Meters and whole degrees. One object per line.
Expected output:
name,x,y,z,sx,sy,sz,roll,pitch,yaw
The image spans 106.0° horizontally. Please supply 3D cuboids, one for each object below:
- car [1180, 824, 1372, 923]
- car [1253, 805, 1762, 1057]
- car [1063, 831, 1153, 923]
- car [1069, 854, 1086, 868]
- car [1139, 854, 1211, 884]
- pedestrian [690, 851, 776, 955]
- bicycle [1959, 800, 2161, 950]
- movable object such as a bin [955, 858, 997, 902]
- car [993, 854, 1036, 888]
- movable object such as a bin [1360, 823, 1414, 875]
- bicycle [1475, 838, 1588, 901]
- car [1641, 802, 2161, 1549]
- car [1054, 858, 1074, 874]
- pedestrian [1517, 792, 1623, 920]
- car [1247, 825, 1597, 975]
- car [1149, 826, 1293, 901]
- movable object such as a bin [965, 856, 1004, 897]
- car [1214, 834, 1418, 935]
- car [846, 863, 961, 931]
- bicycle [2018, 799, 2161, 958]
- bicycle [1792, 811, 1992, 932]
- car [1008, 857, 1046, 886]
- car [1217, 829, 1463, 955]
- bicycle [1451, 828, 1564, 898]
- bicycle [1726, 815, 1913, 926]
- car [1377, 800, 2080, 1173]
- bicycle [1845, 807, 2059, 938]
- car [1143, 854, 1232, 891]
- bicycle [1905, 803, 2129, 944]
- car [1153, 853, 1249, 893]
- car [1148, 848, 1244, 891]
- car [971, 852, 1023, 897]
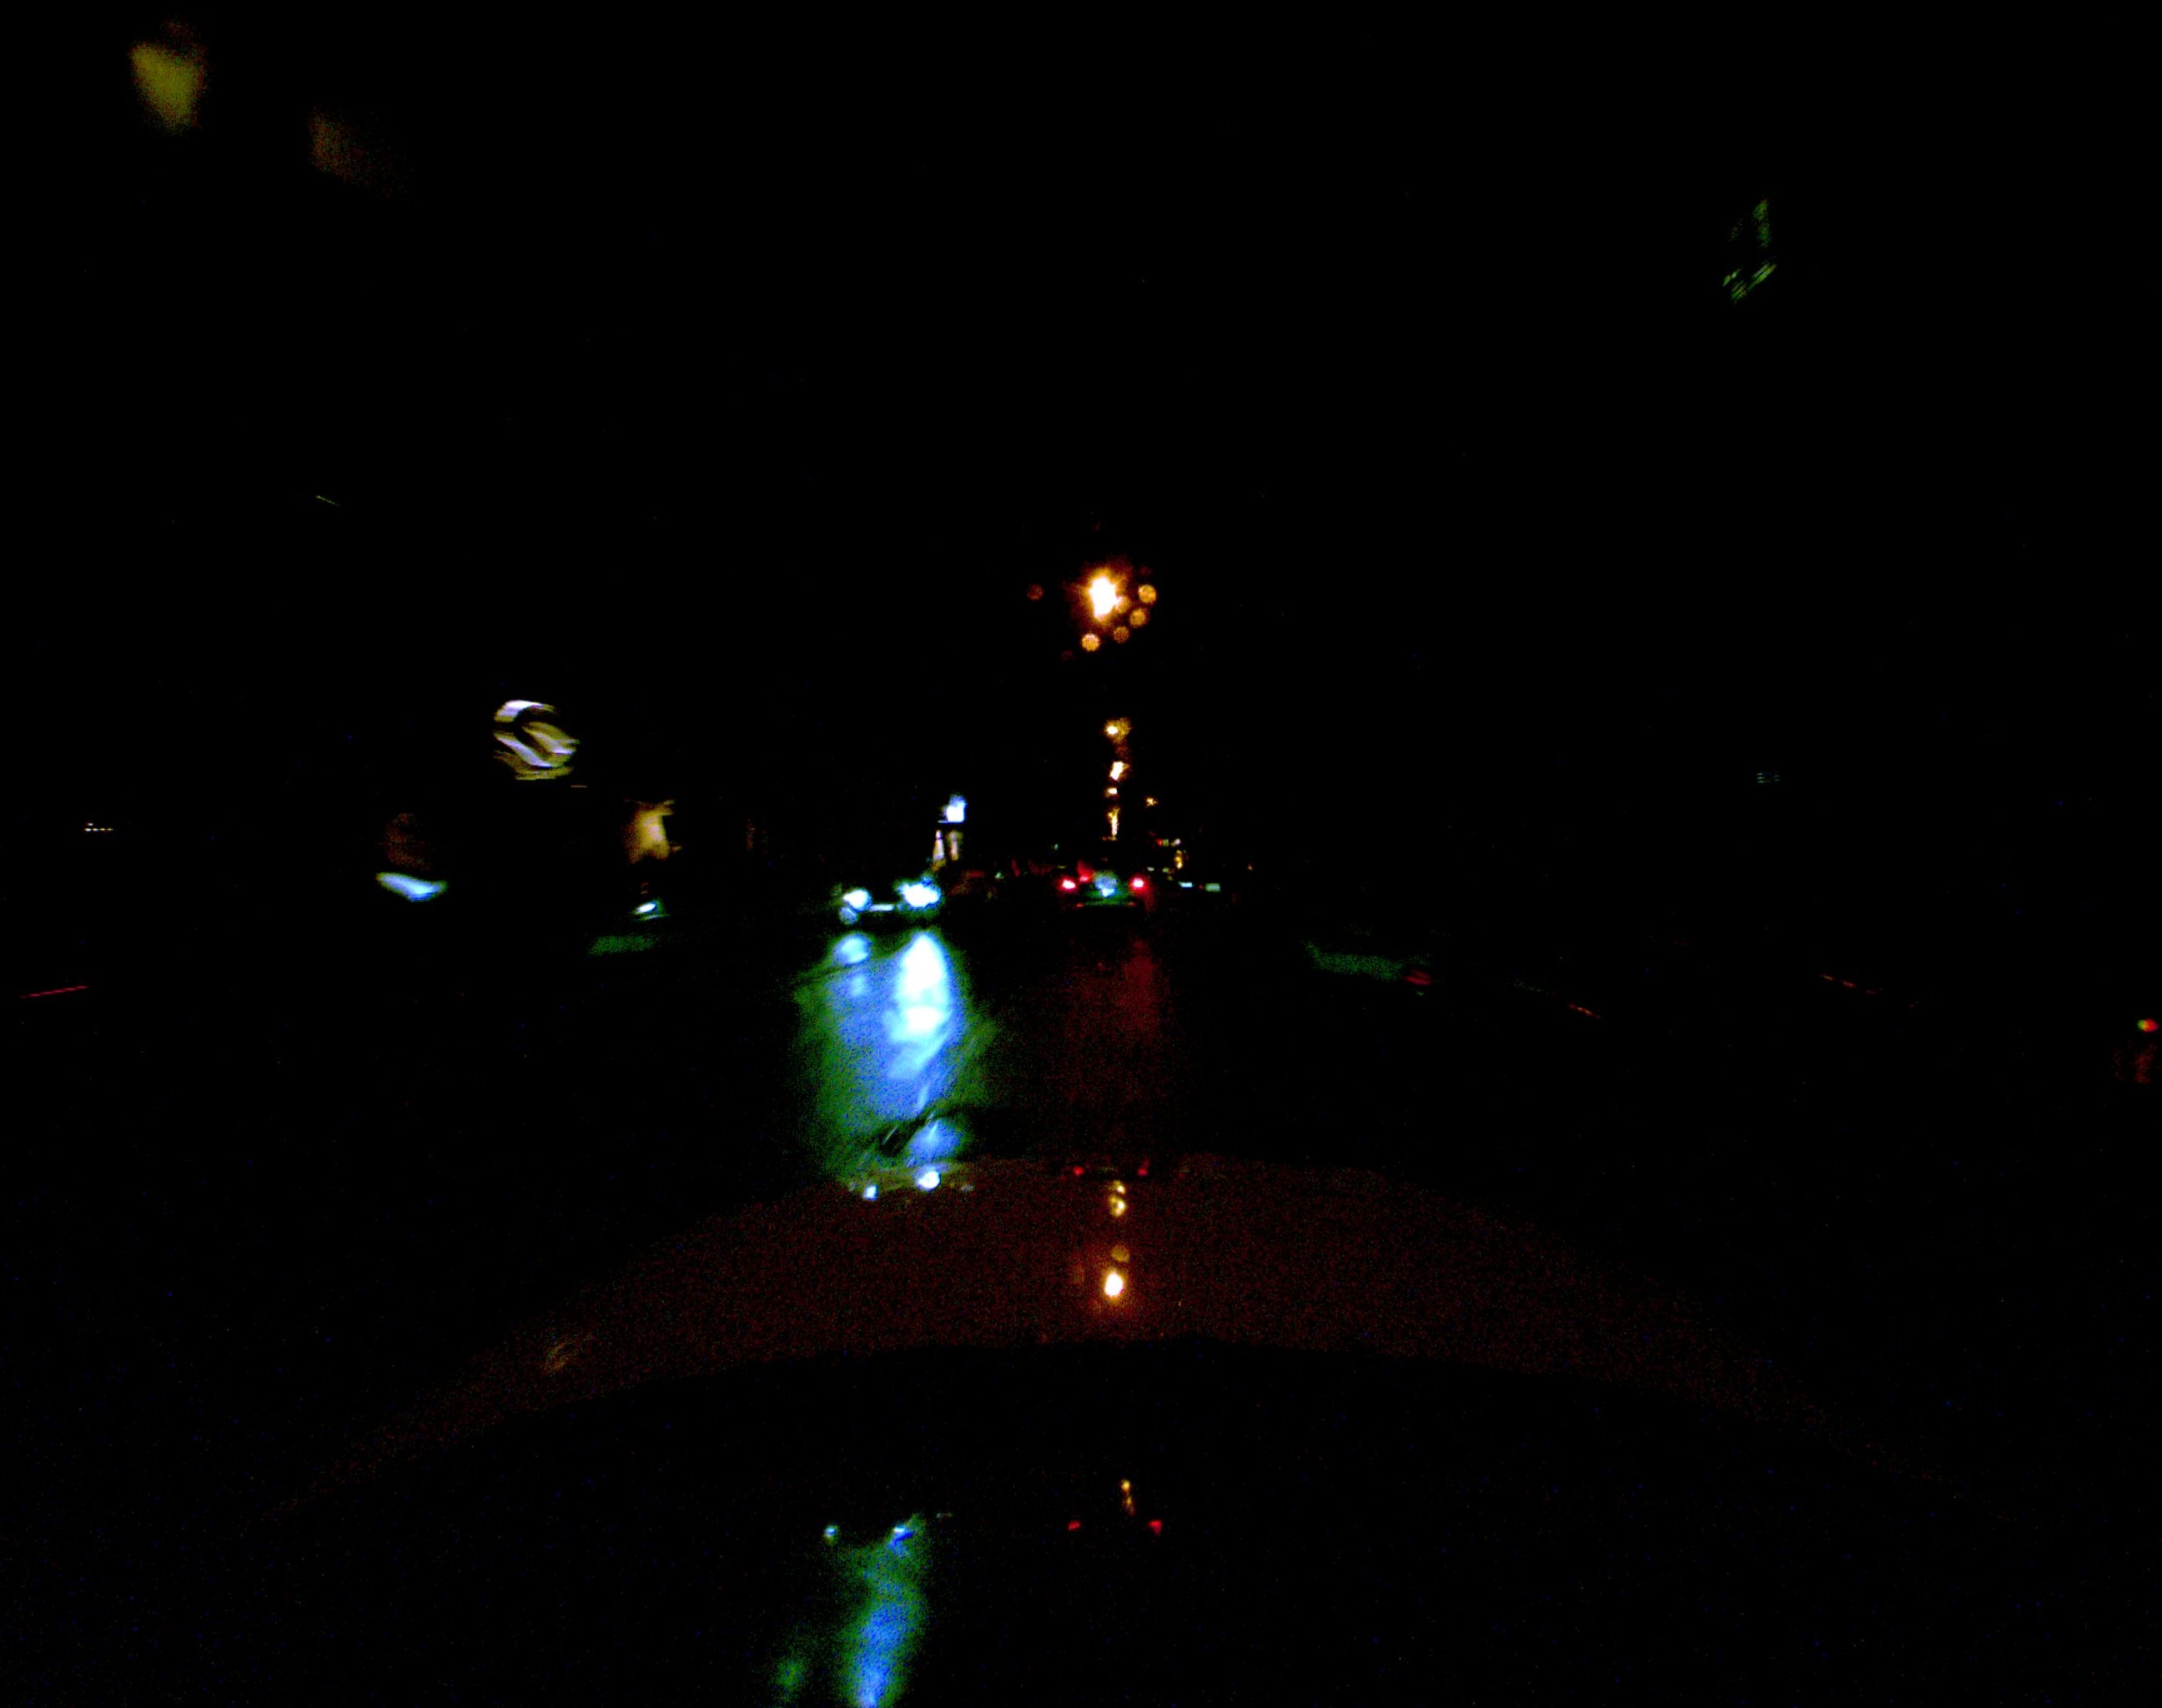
car,4.505,0.401,18.604,4.265,1.858,1.699,-4,-1,-34
car,3.828,0.499,7.355,4.110,1.764,1.845,-1,0,-22
car,0.702,0.545,20.694,1.986,2.050,4.002,-2,-1,2
car,-0.404,0.789,93.891,1.808,1.557,4.074,-1,0,-1
car,5.360,0.842,46.454,3.690,1.460,1.591,-4,0,-25
pedestrian,-6.185,0.849,14.516,1.128,1.782,0.788,-2,0,2
bicycle,8.850,0.173,7.251,1.683,1.146,0.428,-5,0,-7
movable object such as a bin,-3.581,0.890,27.913,1.203,1.459,1.108,-1,0,4
car,-3.215,0.810,40.076,1.597,1.552,4.027,-1,0,2
movable object such as a bin,9.601,-0.150,25.621,1.204,1.451,0.999,-7,-1,2
bicycle,9.032,0.306,16.364,1.968,1.054,0.509,-5,-1,-5
car,3.559,0.637,2.520,3.049,1.552,1.495,-1,0,-20
car,-1.580,1.115,78.206,1.580,1.482,3.796,-2,0,3
pedestrian,7.568,0.038,12.657,0.836,1.835,0.947,-7,-2,-2
car,4.412,0.492,10.598,4.064,1.611,1.831,-1,0,-22
car,4.818,0.285,27.774,4.745,2.248,1.926,-3,-1,-34
movable object such as a bin,-3.440,0.792,29.100,1.159,1.459,1.108,-1,0,4
car,4.636,0.519,15.930,3.787,1.728,1.700,-1,0,-31
car,-4.126,0.946,19.592,1.647,1.359,4.224,-2,0,2
bicycle,8.721,0.160,6.679,1.683,1.146,0.428,-5,0,-7
bicycle,8.968,0.182,9.031,1.683,1.146,0.596,-5,0,-7
car,-2.945,0.939,45.249,1.680,1.455,4.317,-1,0,2
car,4.214,0.506,13.093,3.818,1.728,1.723,-2,0,-34
bicycle,9.298,0.191,17.826,1.960,1.335,0.784,-5,-1,8
bicycle,8.890,0.187,9.835,1.683,1.146,0.664,-5,0,-6
car,3.841,0.539,4.939,3.566,1.611,1.701,-1,0,-20
bicycle,8.909,0.178,8.350,1.683,1.146,0.540,-5,0,-7
car,5.189,0.882,39.611,4.015,1.552,1.786,-3,-1,-33
bicycle,8.927,0.174,7.784,1.683,1.146,0.485,-5,0,-7
car,5.505,0.838,37.133,4.018,1.552,1.978,-3,-1,-36
car,4.792,0.621,33.808,3.662,1.542,1.546,-3,-1,-28
car,-3.470,0.812,34.087,1.597,1.706,3.723,-2,0,2
